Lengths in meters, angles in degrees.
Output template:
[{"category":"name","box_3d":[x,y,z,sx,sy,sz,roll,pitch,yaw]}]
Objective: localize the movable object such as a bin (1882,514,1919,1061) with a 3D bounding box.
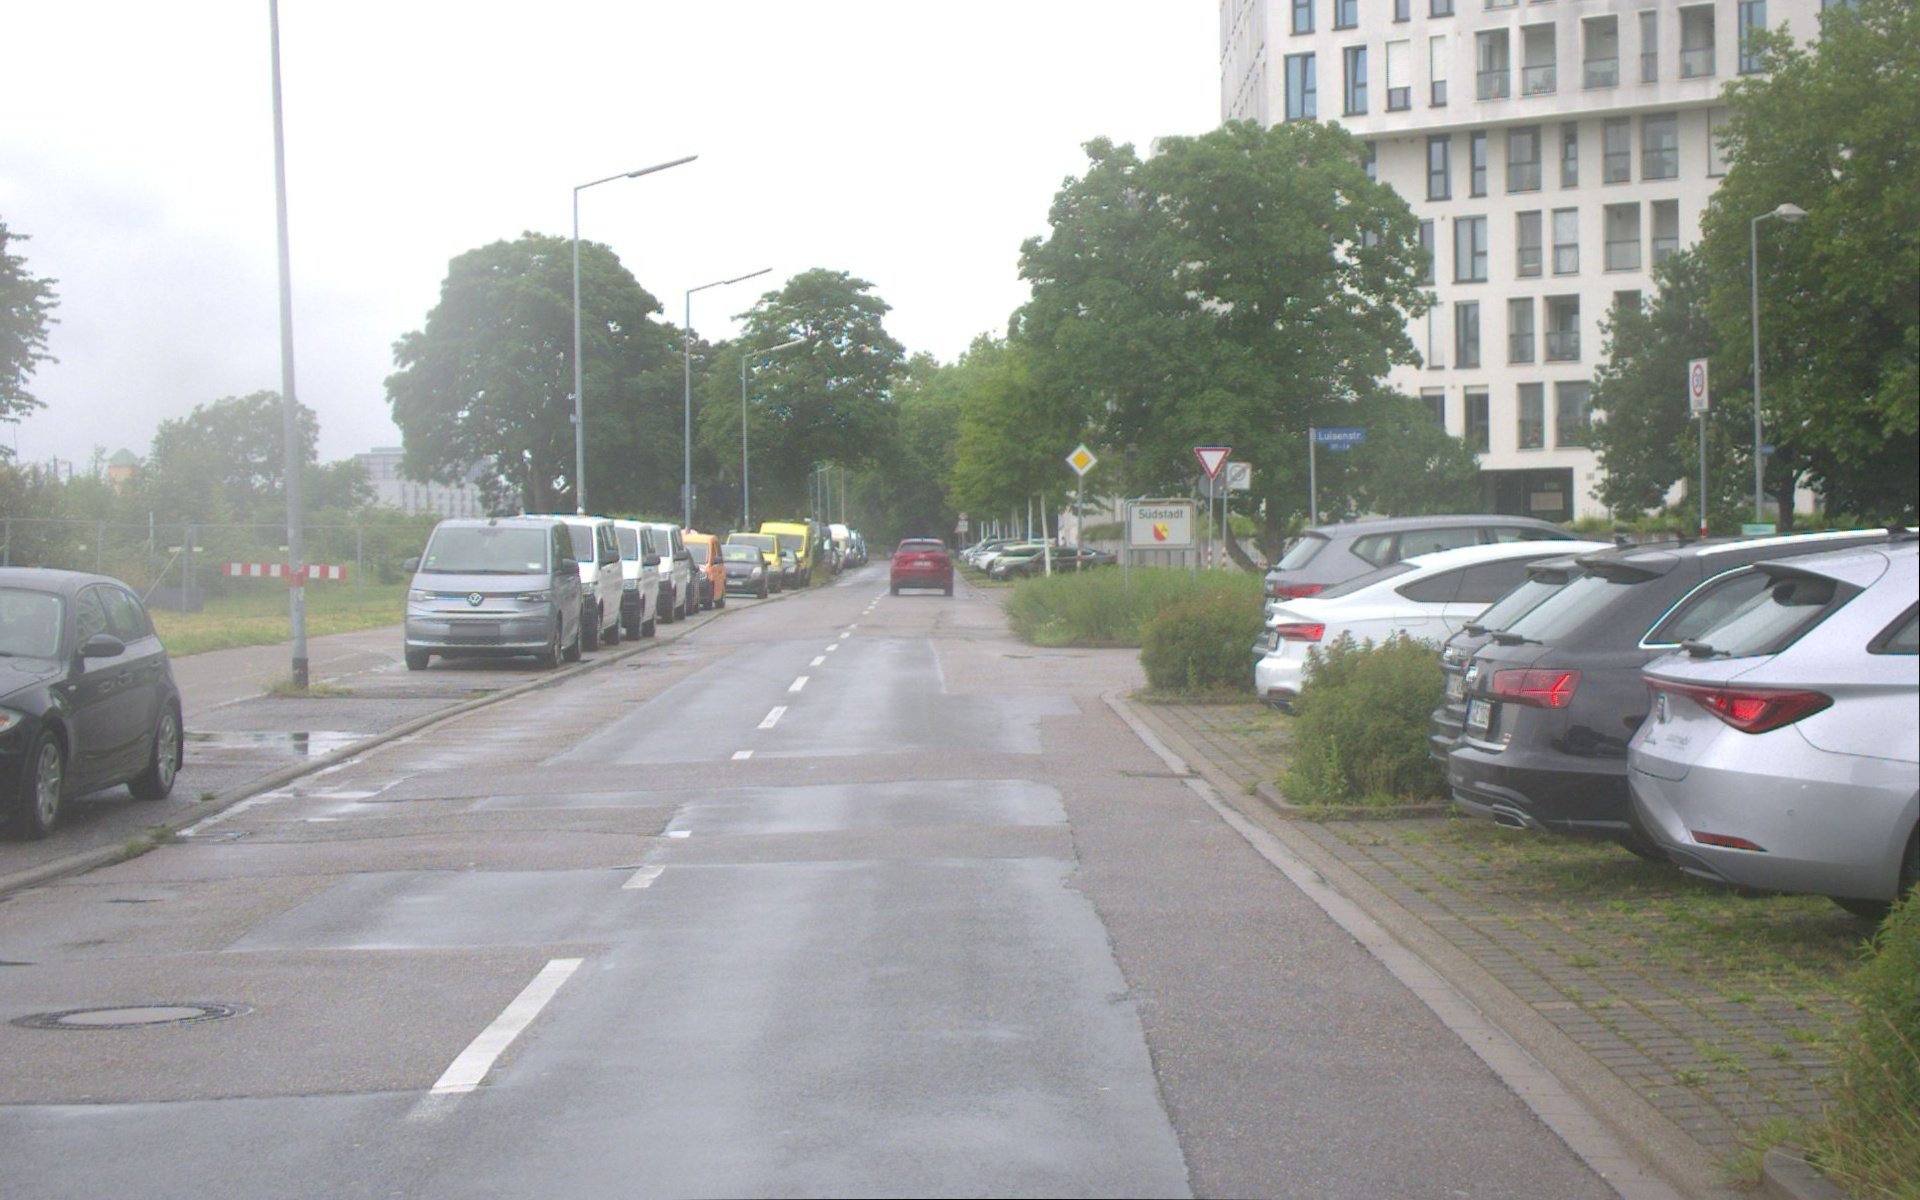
[{"category":"movable object such as a bin","box_3d":[3.296,0.513,8.975,1.300,1.521,1.582,-2,1,0]}]

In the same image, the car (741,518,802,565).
[{"category":"car","box_3d":[-6.710,-2.092,123.024,1.993,1.588,5.018,2,1,-2]}]

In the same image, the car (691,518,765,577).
[{"category":"car","box_3d":[-6.589,-1.503,97.913,1.804,1.556,4.033,2,2,0]}]

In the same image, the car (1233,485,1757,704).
[{"category":"car","box_3d":[4.520,-0.065,29.498,4.089,1.618,1.966,-3,1,-2]}]

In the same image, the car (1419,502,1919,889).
[{"category":"car","box_3d":[4.179,0.326,14.900,4.060,1.491,2.058,-2,1,0]}]

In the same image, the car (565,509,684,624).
[{"category":"car","box_3d":[-6.765,-0.733,69.884,1.942,2.228,5.558,0,1,-1]}]

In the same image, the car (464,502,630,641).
[{"category":"car","box_3d":[-6.236,-0.477,52.400,1.895,2.007,5.258,0,1,0]}]

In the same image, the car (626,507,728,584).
[{"category":"car","box_3d":[-6.640,-1.305,81.090,1.940,1.761,4.331,0,1,1]}]

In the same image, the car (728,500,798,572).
[{"category":"car","box_3d":[-7.672,-2.525,134.688,2.192,2.685,6.081,2,1,1]}]

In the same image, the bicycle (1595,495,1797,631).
[{"category":"bicycle","box_3d":[8.507,-0.427,39.759,2.190,1.517,0.630,-1,1,20]}]

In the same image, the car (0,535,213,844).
[{"category":"car","box_3d":[-5.735,0.421,20.027,1.847,1.556,4.153,2,1,0]}]

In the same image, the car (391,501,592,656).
[{"category":"car","box_3d":[-5.993,-0.326,44.534,1.956,1.895,4.995,0,1,0]}]

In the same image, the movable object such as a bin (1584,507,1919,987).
[{"category":"movable object such as a bin","box_3d":[2.996,0.457,11.983,1.300,1.521,1.582,-2,1,0]}]

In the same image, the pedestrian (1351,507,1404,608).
[{"category":"pedestrian","box_3d":[8.433,-0.863,69.462,0.965,2.007,0.623,-1,1,0]}]

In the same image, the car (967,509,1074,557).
[{"category":"car","box_3d":[2.687,-2.982,153.063,4.539,1.679,1.886,-5,1,-3]}]

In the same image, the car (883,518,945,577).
[{"category":"car","box_3d":[-1.365,-1.535,100.514,1.756,1.700,4.000,0,1,-2]}]

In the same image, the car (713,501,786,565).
[{"category":"car","box_3d":[-6.746,-2.154,110.721,2.017,1.949,6.065,1,1,-1]}]

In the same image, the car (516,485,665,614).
[{"category":"car","box_3d":[-6.196,-0.883,58.214,1.960,2.051,5.274,1,1,0]}]

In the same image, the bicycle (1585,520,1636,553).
[{"category":"bicycle","box_3d":[20.813,-2.041,109.997,0.724,1.029,2.068,0,1,39]}]

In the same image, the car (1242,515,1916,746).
[{"category":"car","box_3d":[4.342,0.190,24.604,4.409,1.400,1.911,-3,1,-1]}]

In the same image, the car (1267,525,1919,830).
[{"category":"car","box_3d":[3.820,0.382,19.059,3.987,1.474,1.879,-2,1,-1]}]
